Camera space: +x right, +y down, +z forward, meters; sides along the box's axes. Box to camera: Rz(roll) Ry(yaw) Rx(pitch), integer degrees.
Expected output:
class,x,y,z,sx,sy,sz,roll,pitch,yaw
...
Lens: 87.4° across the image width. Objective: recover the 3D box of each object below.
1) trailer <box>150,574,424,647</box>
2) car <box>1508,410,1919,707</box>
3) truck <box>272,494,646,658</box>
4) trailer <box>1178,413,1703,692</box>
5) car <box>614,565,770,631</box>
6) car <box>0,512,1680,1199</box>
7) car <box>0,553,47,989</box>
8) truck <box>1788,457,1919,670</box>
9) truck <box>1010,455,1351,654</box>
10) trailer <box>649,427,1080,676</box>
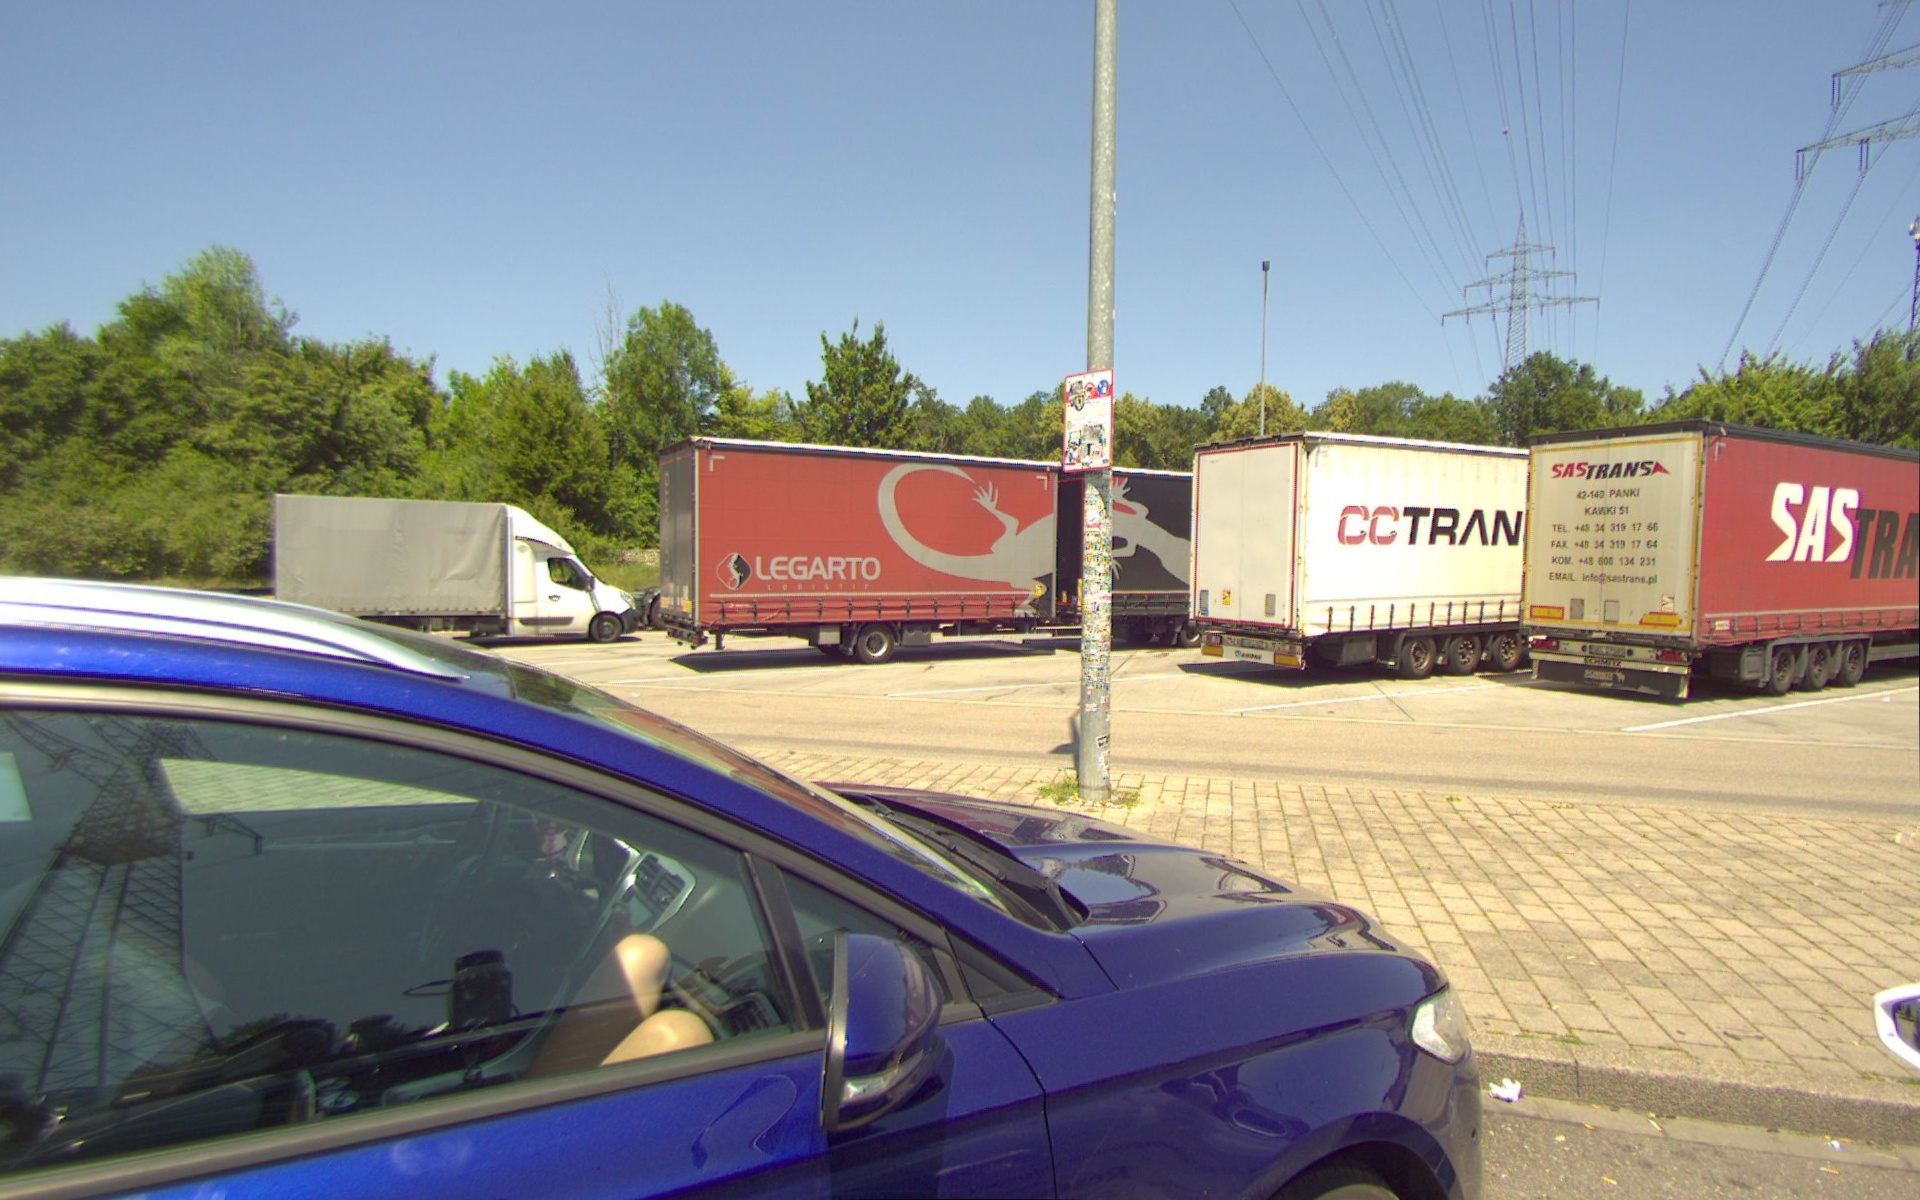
class,x,y,z,sx,sy,sz,roll,pitch,yaw
trailer,-15.948,0.239,24.189,5.332,1.617,1.585,0,0,-30
car,15.218,-0.696,18.466,12.777,4.169,2.683,-1,3,-30
truck,-11.113,-0.588,22.883,7.219,3.277,2.308,-2,3,-29
trailer,10.113,-0.885,20.078,12.786,4.325,2.800,-1,2,-31
car,-7.604,-0.050,28.526,3.953,1.773,1.902,0,0,-30
car,-0.982,0.669,1.475,4.380,1.464,1.771,0,0,-32
car,-4.609,0.555,2.126,3.700,1.432,1.595,0,0,-32
truck,21.143,-0.777,21.877,6.163,4.169,2.683,-1,3,-30
truck,5.604,-1.081,24.839,8.683,4.248,2.800,-1,2,-30
trailer,-1.742,-0.932,20.515,8.389,4.248,2.800,-1,2,-30
